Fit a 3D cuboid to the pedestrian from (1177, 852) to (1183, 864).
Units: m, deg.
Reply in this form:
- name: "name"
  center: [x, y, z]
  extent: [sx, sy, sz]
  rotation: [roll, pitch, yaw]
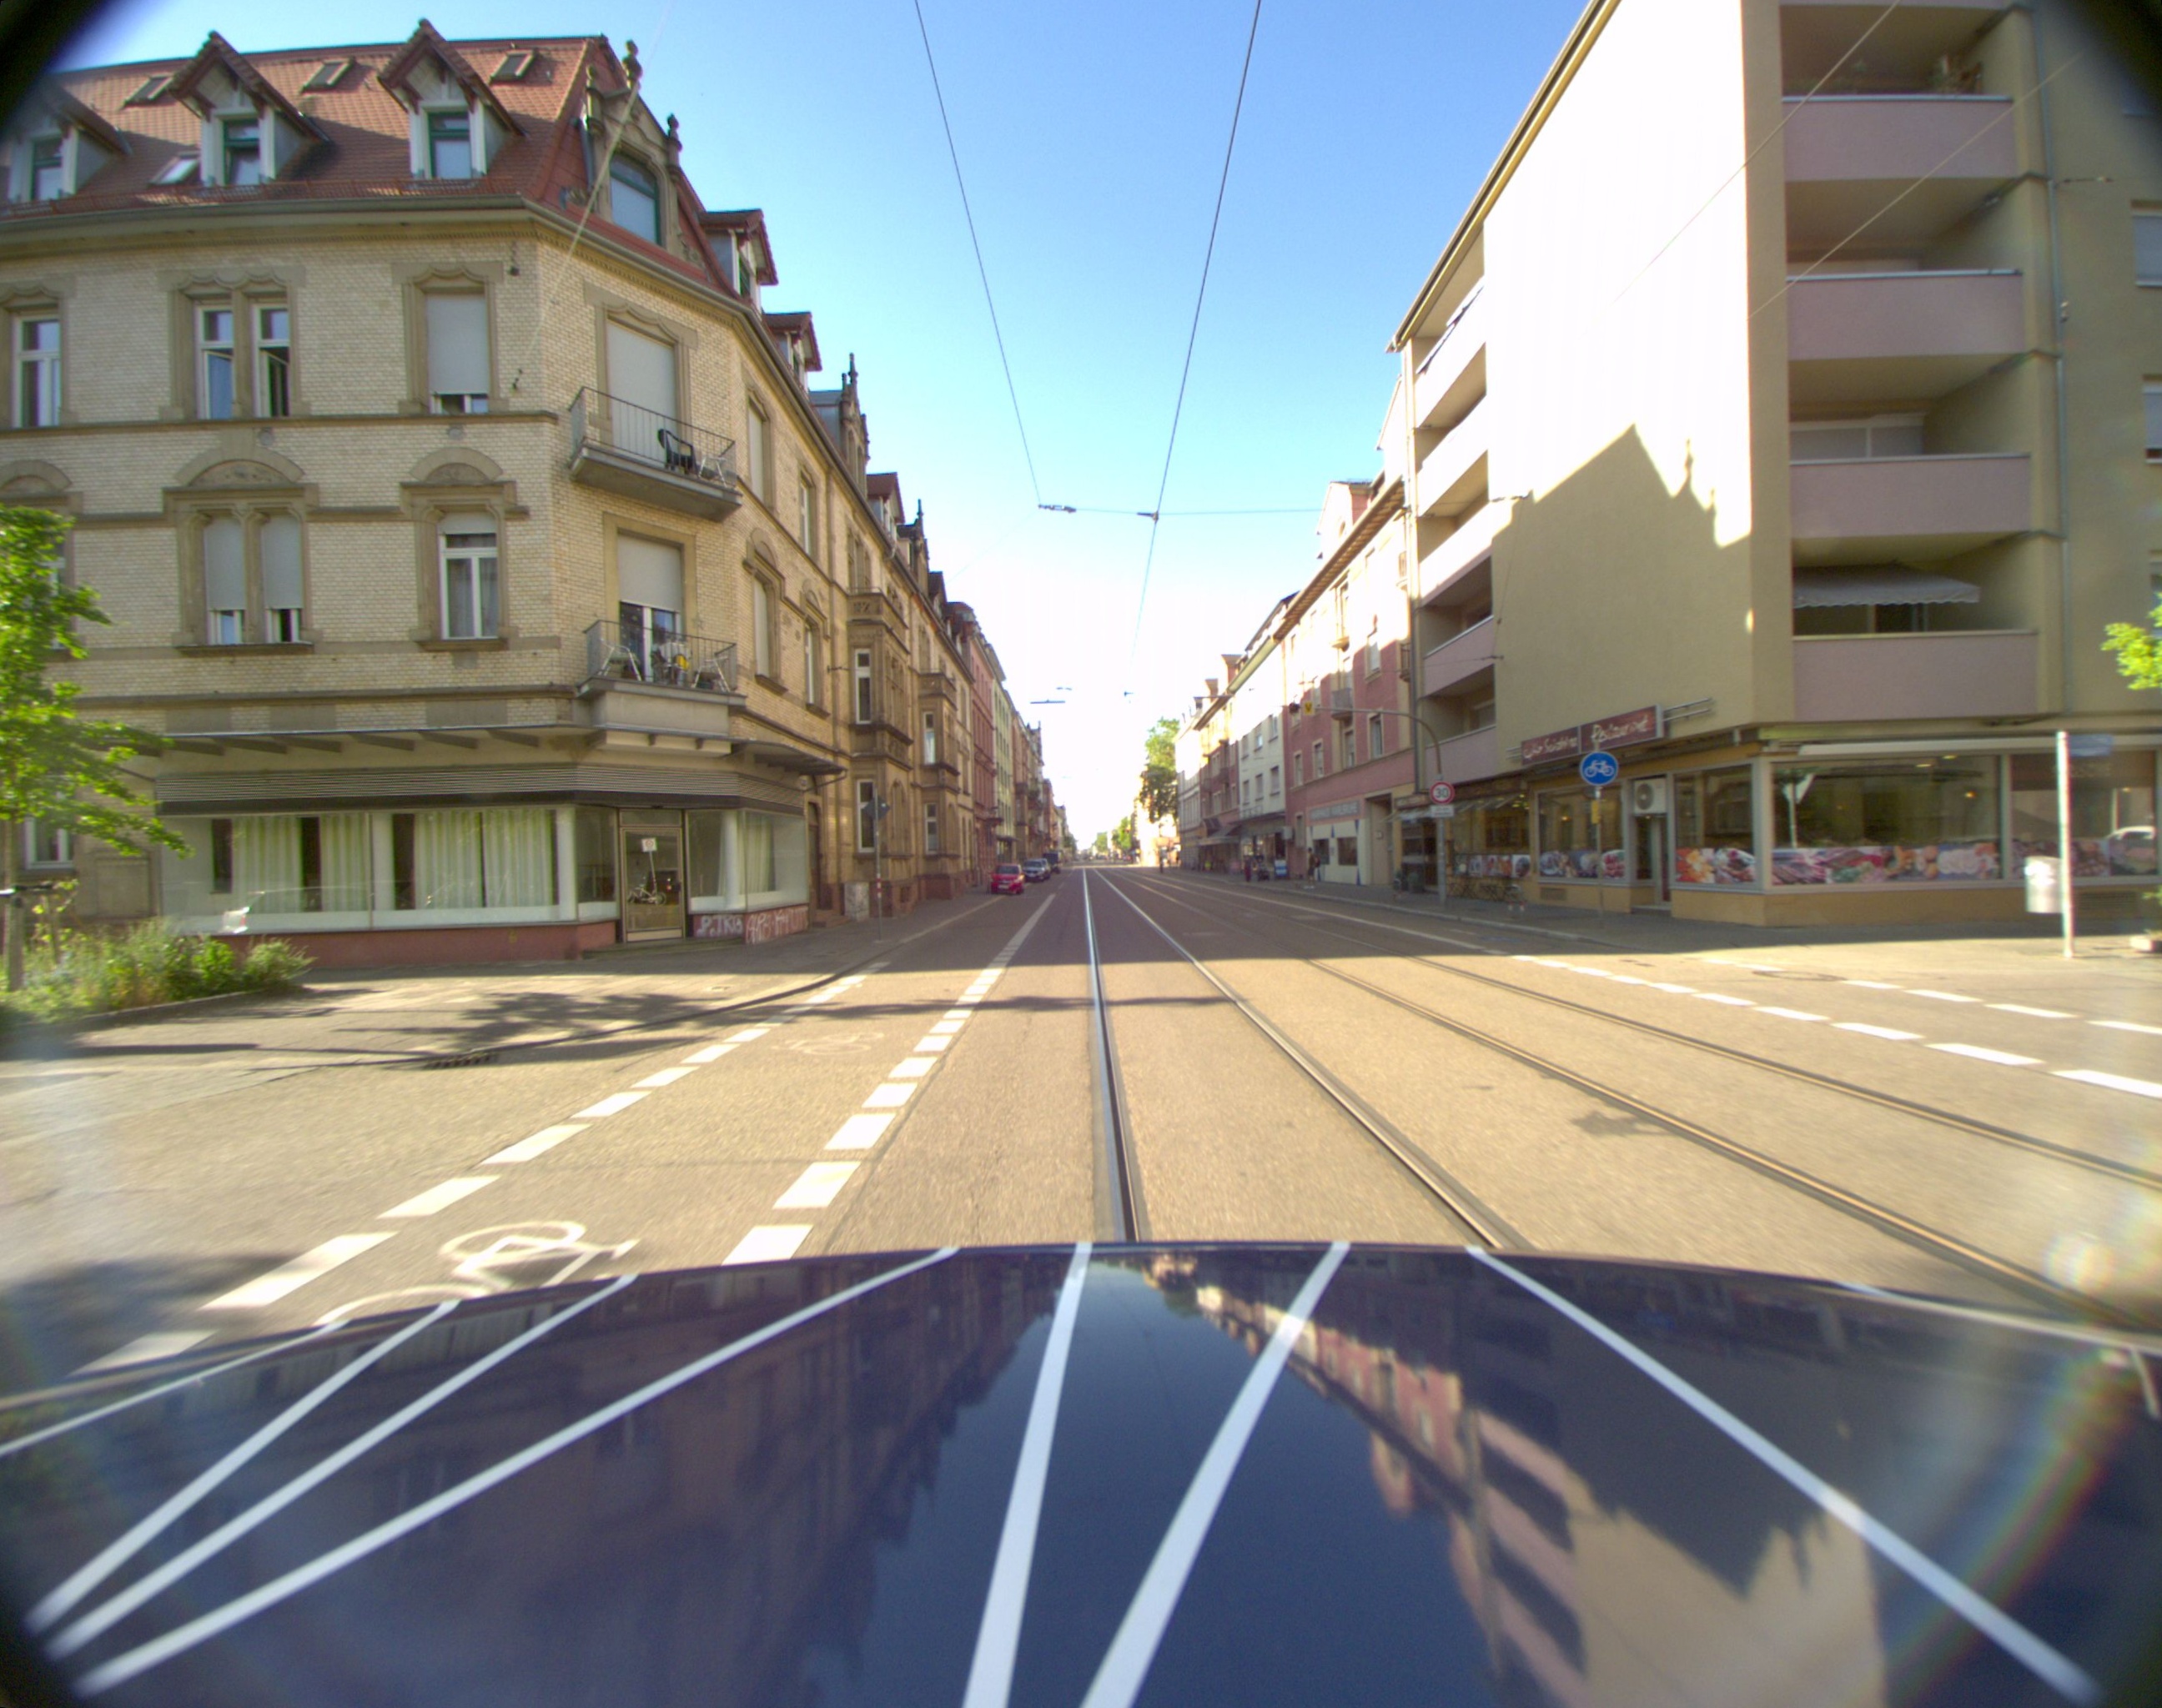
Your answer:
- name: "pedestrian"
  center: [15.371, 0.613, 117.849]
  extent: [0.795, 1.837, 0.809]
  rotation: [-3, 1, 3]

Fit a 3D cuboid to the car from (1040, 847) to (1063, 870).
- name: "car"
  center: [-3.459, 0.516, 89.105]
  extent: [2.128, 2.478, 5.856]
  rotation: [-3, 1, 2]

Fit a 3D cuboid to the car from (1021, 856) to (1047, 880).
- name: "car"
  center: [-3.489, 0.972, 56.289]
  extent: [1.871, 1.637, 4.399]
  rotation: [1, 0, -4]

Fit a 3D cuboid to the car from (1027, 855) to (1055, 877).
- name: "car"
  center: [-3.252, 0.938, 61.945]
  extent: [1.998, 1.606, 4.785]
  rotation: [1, 1, 0]

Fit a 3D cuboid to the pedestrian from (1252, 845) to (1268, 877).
- name: "pedestrian"
  center: [10.148, 0.392, 43.009]
  extent: [0.627, 1.779, 0.821]
  rotation: [-3, 1, 0]

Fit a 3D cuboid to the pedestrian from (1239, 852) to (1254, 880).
- name: "pedestrian"
  center: [9.241, 0.665, 42.461]
  extent: [0.637, 1.540, 0.623]
  rotation: [-3, 1, 0]

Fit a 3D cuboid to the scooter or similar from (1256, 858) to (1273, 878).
- name: "scooter or similar"
  center: [10.094, 0.740, 41.788]
  extent: [0.663, 1.055, 1.105]
  rotation: [-3, 0, 1]

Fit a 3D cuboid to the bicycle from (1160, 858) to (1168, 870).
- name: "bicycle"
  center: [8.001, 0.919, 73.090]
  extent: [0.603, 1.089, 2.044]
  rotation: [0, 1, 1]

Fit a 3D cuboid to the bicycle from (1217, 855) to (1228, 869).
- name: "bicycle"
  center: [11.371, 0.657, 61.041]
  extent: [0.425, 1.053, 2.329]
  rotation: [-3, 1, 0]

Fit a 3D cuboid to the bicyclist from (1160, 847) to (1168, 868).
- name: "bicyclist"
  center: [8.015, 0.323, 73.230]
  extent: [0.613, 2.002, 0.733]
  rotation: [-3, 1, 1]

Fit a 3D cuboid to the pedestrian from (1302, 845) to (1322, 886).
- name: "pedestrian"
  center: [9.671, 0.460, 31.782]
  extent: [0.564, 1.676, 0.616]
  rotation: [-3, 1, -1]

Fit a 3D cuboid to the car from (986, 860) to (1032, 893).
- name: "car"
  center: [-3.531, 1.075, 38.200]
  extent: [1.870, 1.474, 4.400]
  rotation: [1, 1, 0]
